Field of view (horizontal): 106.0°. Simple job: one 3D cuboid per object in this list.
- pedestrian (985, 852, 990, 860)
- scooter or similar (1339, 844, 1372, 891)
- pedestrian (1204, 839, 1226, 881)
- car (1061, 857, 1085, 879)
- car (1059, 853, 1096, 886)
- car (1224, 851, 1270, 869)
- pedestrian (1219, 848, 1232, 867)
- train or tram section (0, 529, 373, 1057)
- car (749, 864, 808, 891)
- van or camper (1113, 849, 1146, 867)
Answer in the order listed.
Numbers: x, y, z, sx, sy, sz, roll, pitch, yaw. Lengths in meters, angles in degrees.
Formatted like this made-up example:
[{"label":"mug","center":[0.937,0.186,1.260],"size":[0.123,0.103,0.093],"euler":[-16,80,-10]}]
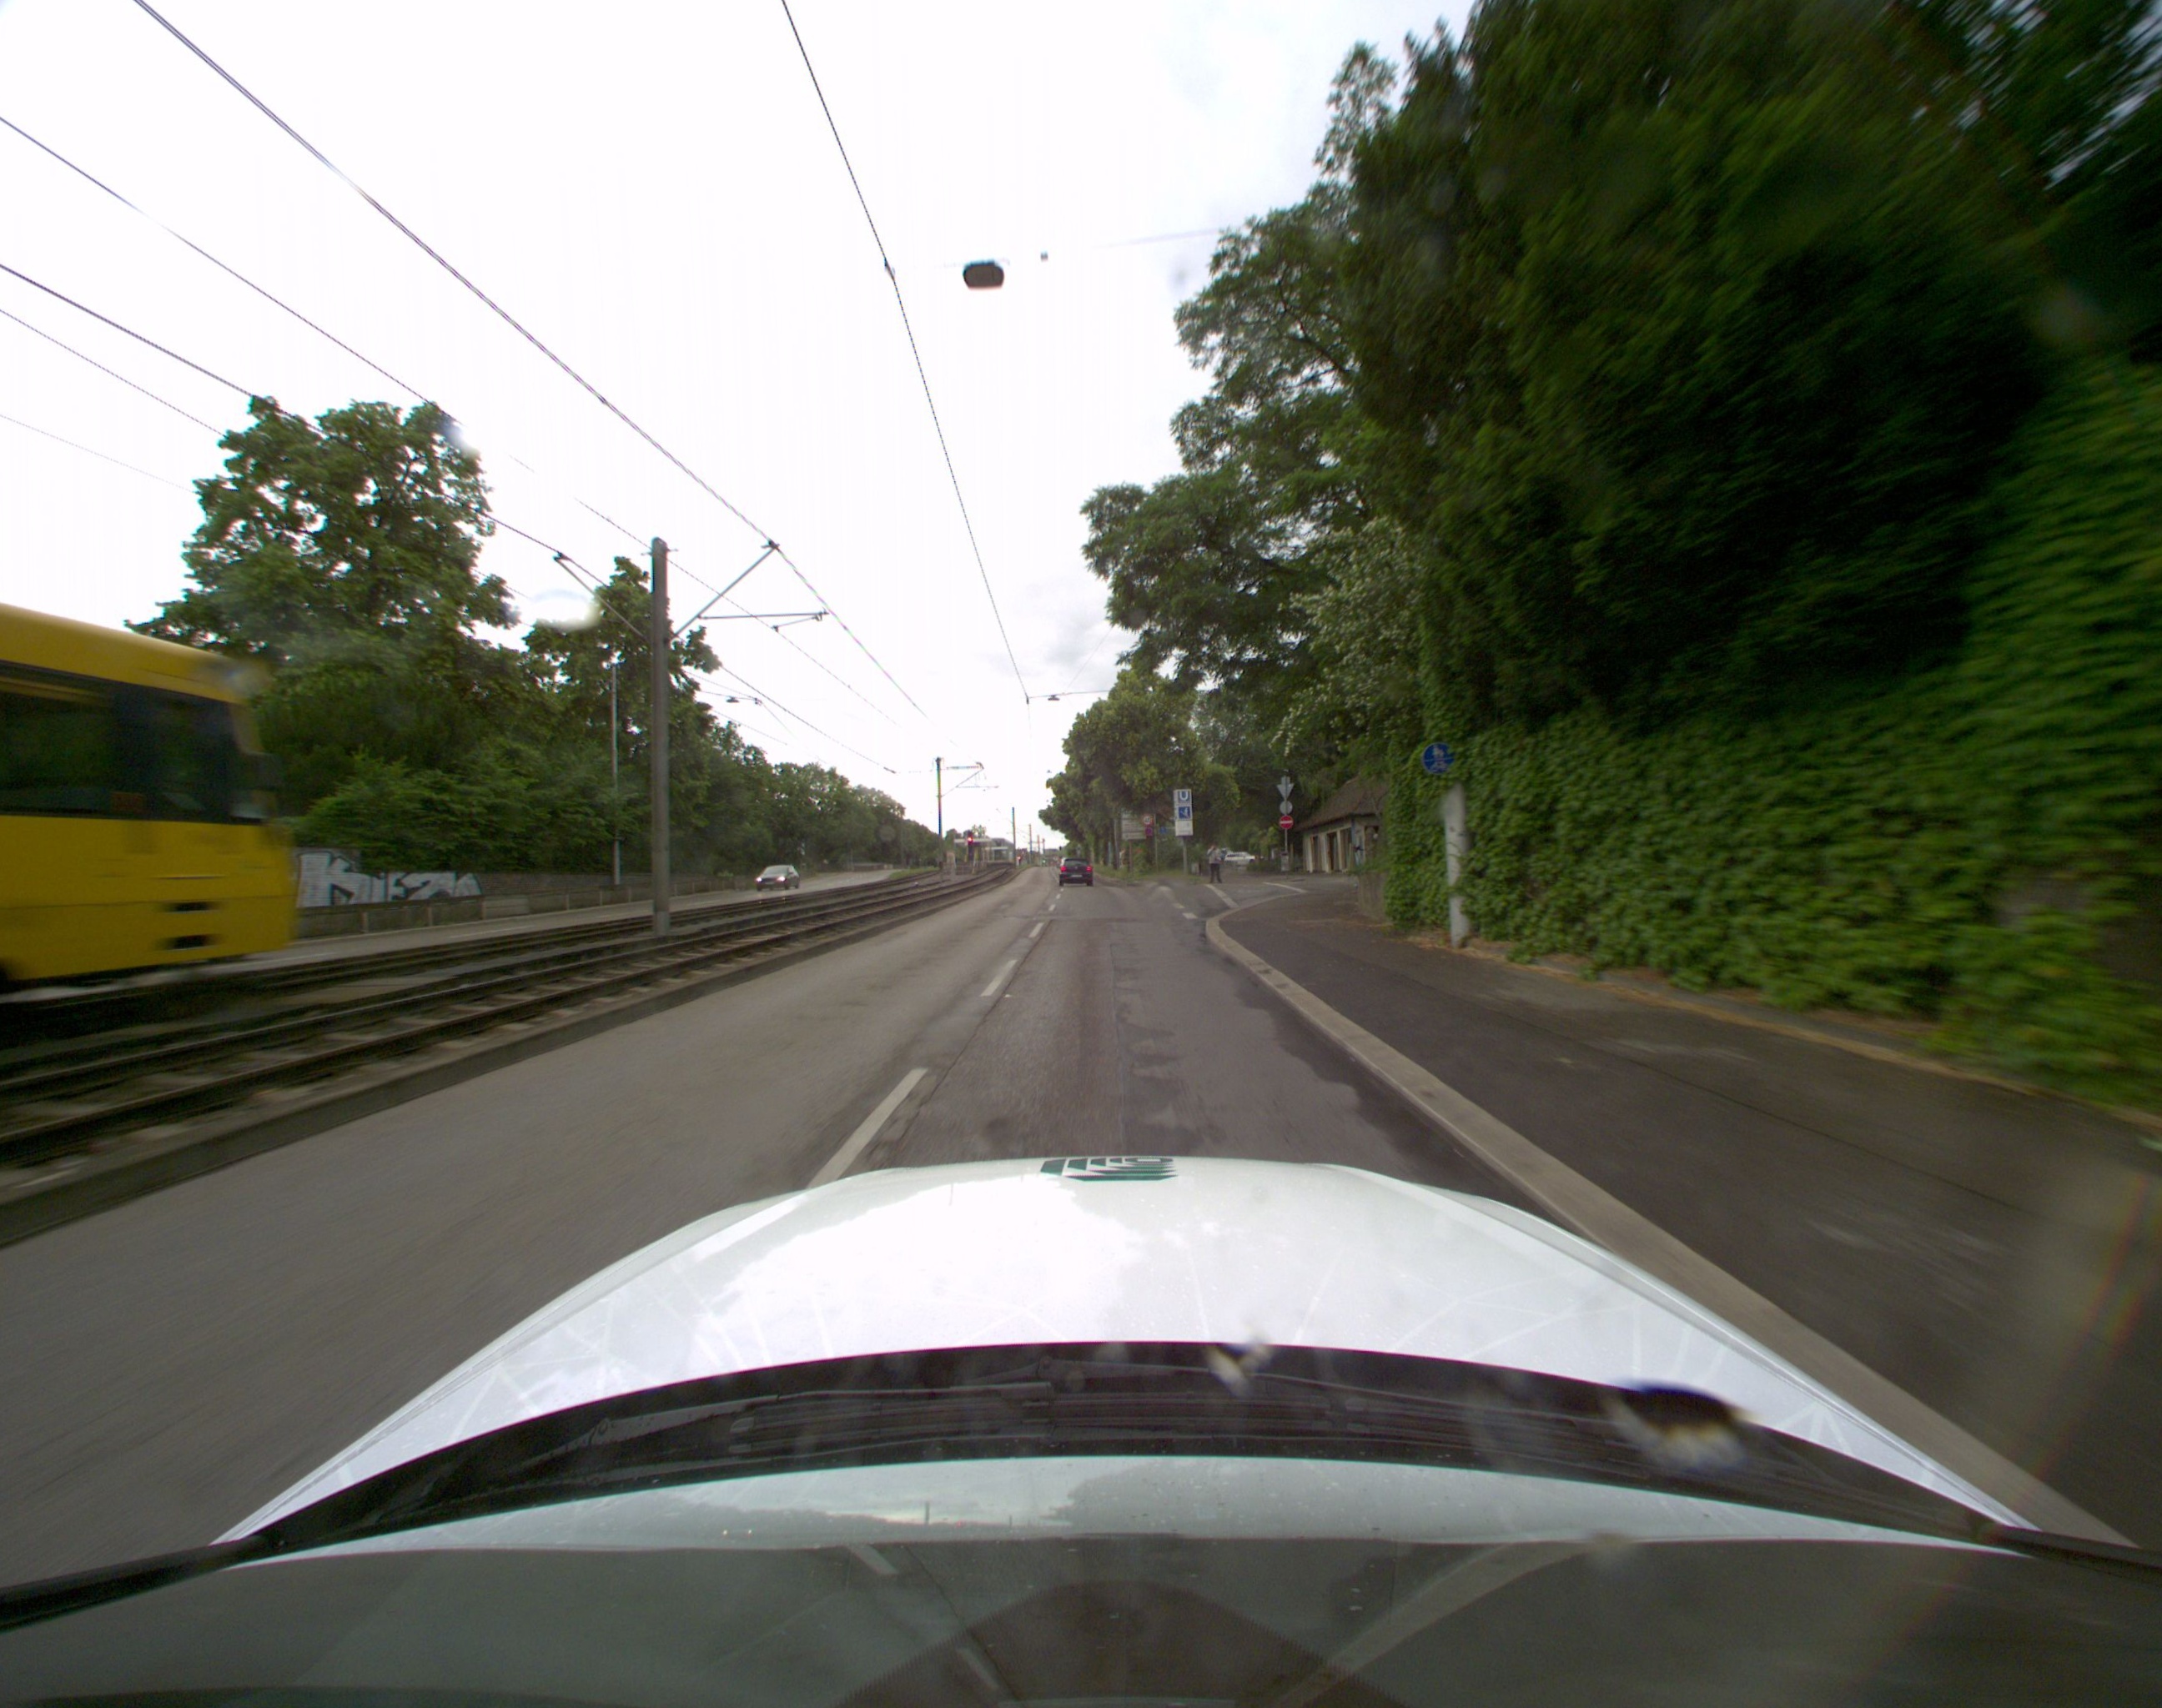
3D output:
[{"label":"pedestrian","center":[-14.116,0.248,123.087],"size":[0.708,1.225,0.619],"euler":[-1,-1,-2]},{"label":"scooter or similar","center":[7.665,0.374,22.761],"size":[0.511,1.230,1.317],"euler":[-5,-1,7]},{"label":"pedestrian","center":[5.988,0.280,36.423],"size":[0.852,1.854,0.737],"euler":[-1,-1,1]},{"label":"car","center":[-0.662,1.052,62.139],"size":[1.683,1.517,3.997],"euler":[-2,0,-2]},{"label":"car","center":[-0.177,0.759,41.080],"size":[1.721,1.540,3.999],"euler":[-2,0,0]},{"label":"car","center":[17.340,0.577,85.059],"size":[1.957,1.834,4.414],"euler":[1,0,-43]},{"label":"pedestrian","center":[15.087,0.371,85.225],"size":[0.965,2.014,0.942],"euler":[-1,-1,-26]},{"label":"train or tram section","center":[-9.639,-0.440,0.272],"size":[2.818,3.976,17.879],"euler":[-2,0,1]},{"label":"car","center":[-17.764,1.338,48.005],"size":[1.960,1.441,4.318],"euler":[-3,-1,-2]},{"label":"van or camper","center":[7.334,0.604,122.376],"size":[2.015,2.406,5.424],"euler":[2,-1,41]}]
